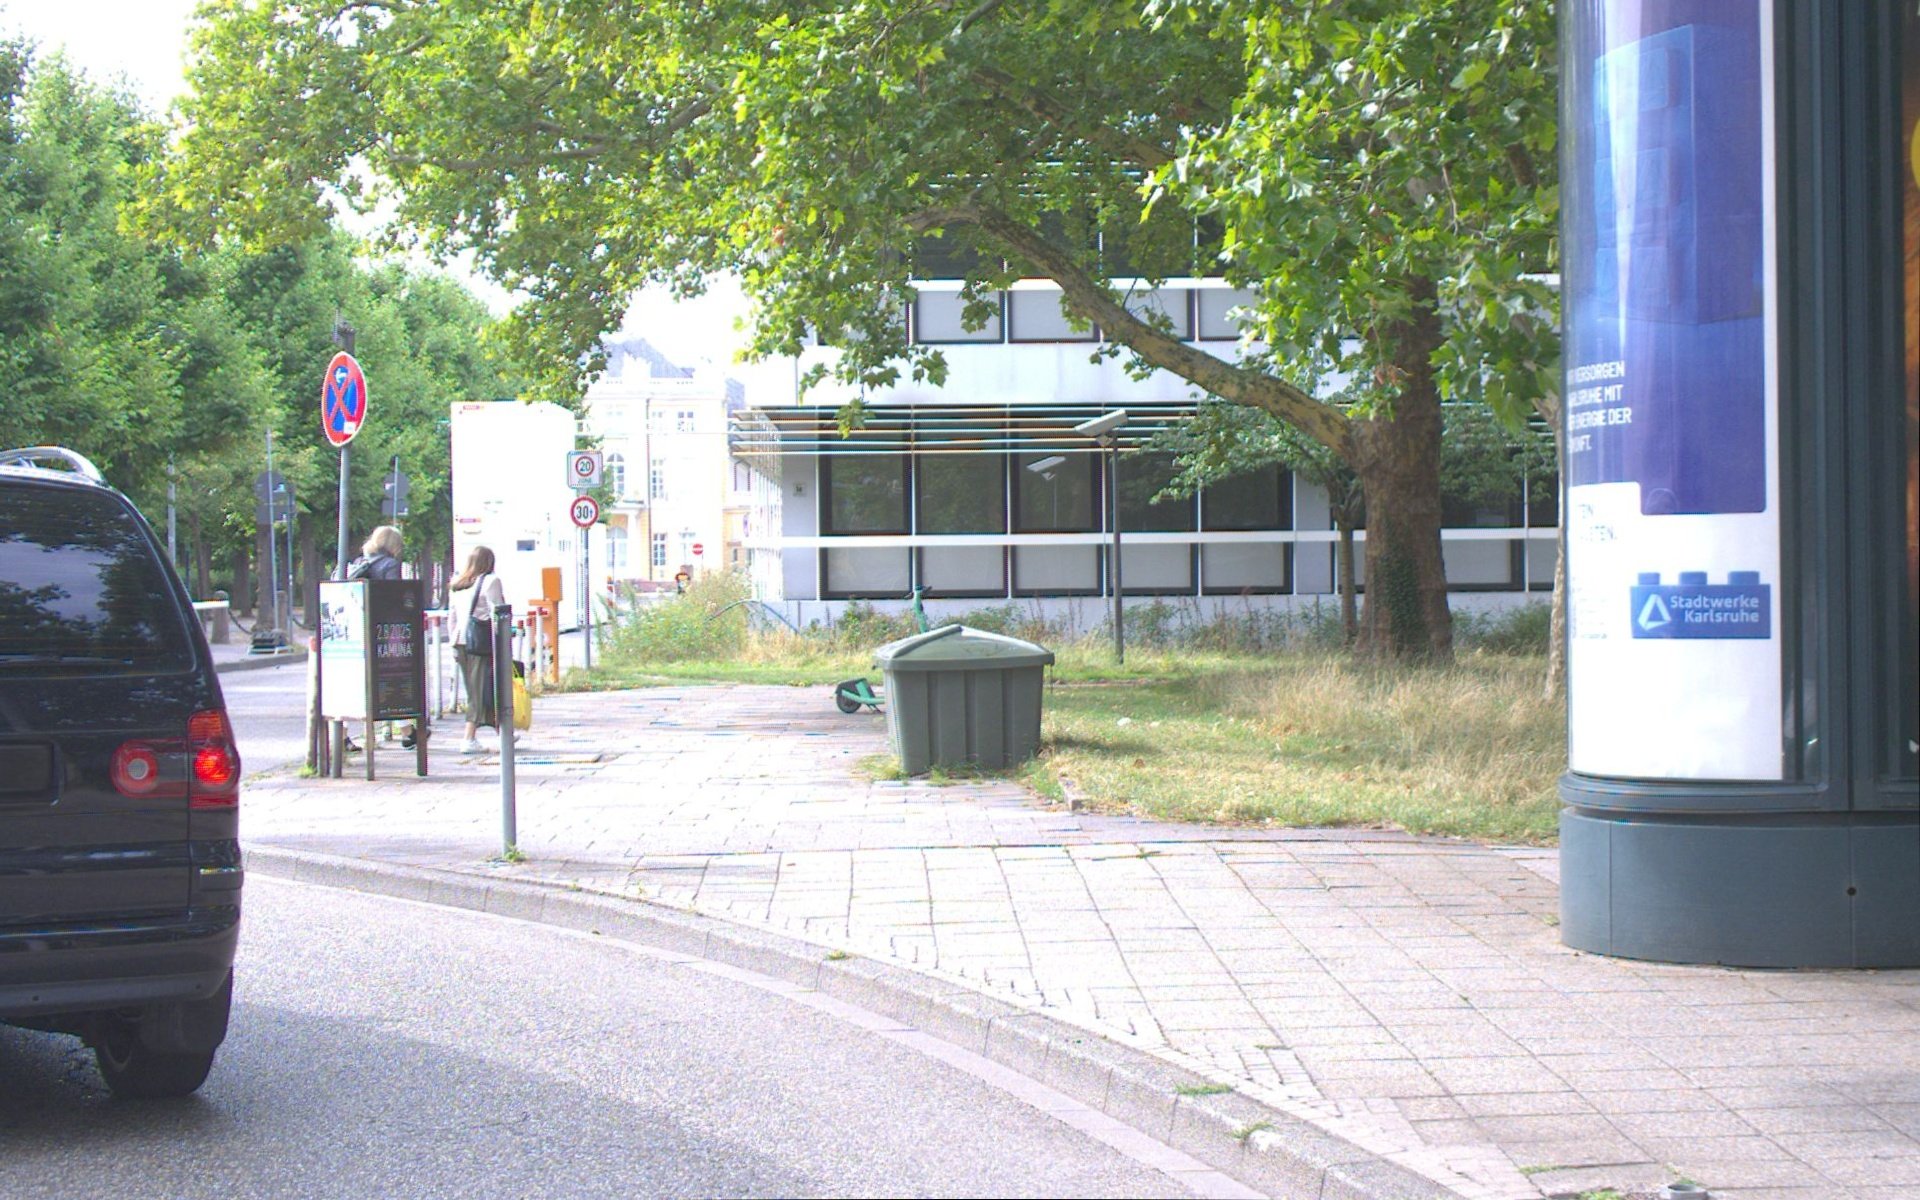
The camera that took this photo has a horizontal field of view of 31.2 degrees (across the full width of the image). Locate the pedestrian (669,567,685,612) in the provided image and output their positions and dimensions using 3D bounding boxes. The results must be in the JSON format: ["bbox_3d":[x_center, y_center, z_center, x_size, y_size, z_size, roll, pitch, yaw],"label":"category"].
[{"bbox_3d":[-10.212,-0.381,124.103,0.459,1.619,0.632,1,1,-15],"label":"pedestrian"}]

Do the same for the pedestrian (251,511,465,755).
[{"bbox_3d":[-4.451,0.228,25.477,0.961,1.735,1.254,2,1,29],"label":"pedestrian"}]

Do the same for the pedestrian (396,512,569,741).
[{"bbox_3d":[-3.512,0.181,25.296,0.897,1.635,0.851,2,1,33],"label":"pedestrian"}]

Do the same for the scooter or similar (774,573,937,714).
[{"bbox_3d":[-0.975,0.396,31.810,1.449,1.264,0.570,1,1,-5],"label":"scooter or similar"}]

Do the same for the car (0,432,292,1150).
[{"bbox_3d":[-3.419,0.440,9.887,1.793,1.702,4.131,-1,1,-28],"label":"car"}]
